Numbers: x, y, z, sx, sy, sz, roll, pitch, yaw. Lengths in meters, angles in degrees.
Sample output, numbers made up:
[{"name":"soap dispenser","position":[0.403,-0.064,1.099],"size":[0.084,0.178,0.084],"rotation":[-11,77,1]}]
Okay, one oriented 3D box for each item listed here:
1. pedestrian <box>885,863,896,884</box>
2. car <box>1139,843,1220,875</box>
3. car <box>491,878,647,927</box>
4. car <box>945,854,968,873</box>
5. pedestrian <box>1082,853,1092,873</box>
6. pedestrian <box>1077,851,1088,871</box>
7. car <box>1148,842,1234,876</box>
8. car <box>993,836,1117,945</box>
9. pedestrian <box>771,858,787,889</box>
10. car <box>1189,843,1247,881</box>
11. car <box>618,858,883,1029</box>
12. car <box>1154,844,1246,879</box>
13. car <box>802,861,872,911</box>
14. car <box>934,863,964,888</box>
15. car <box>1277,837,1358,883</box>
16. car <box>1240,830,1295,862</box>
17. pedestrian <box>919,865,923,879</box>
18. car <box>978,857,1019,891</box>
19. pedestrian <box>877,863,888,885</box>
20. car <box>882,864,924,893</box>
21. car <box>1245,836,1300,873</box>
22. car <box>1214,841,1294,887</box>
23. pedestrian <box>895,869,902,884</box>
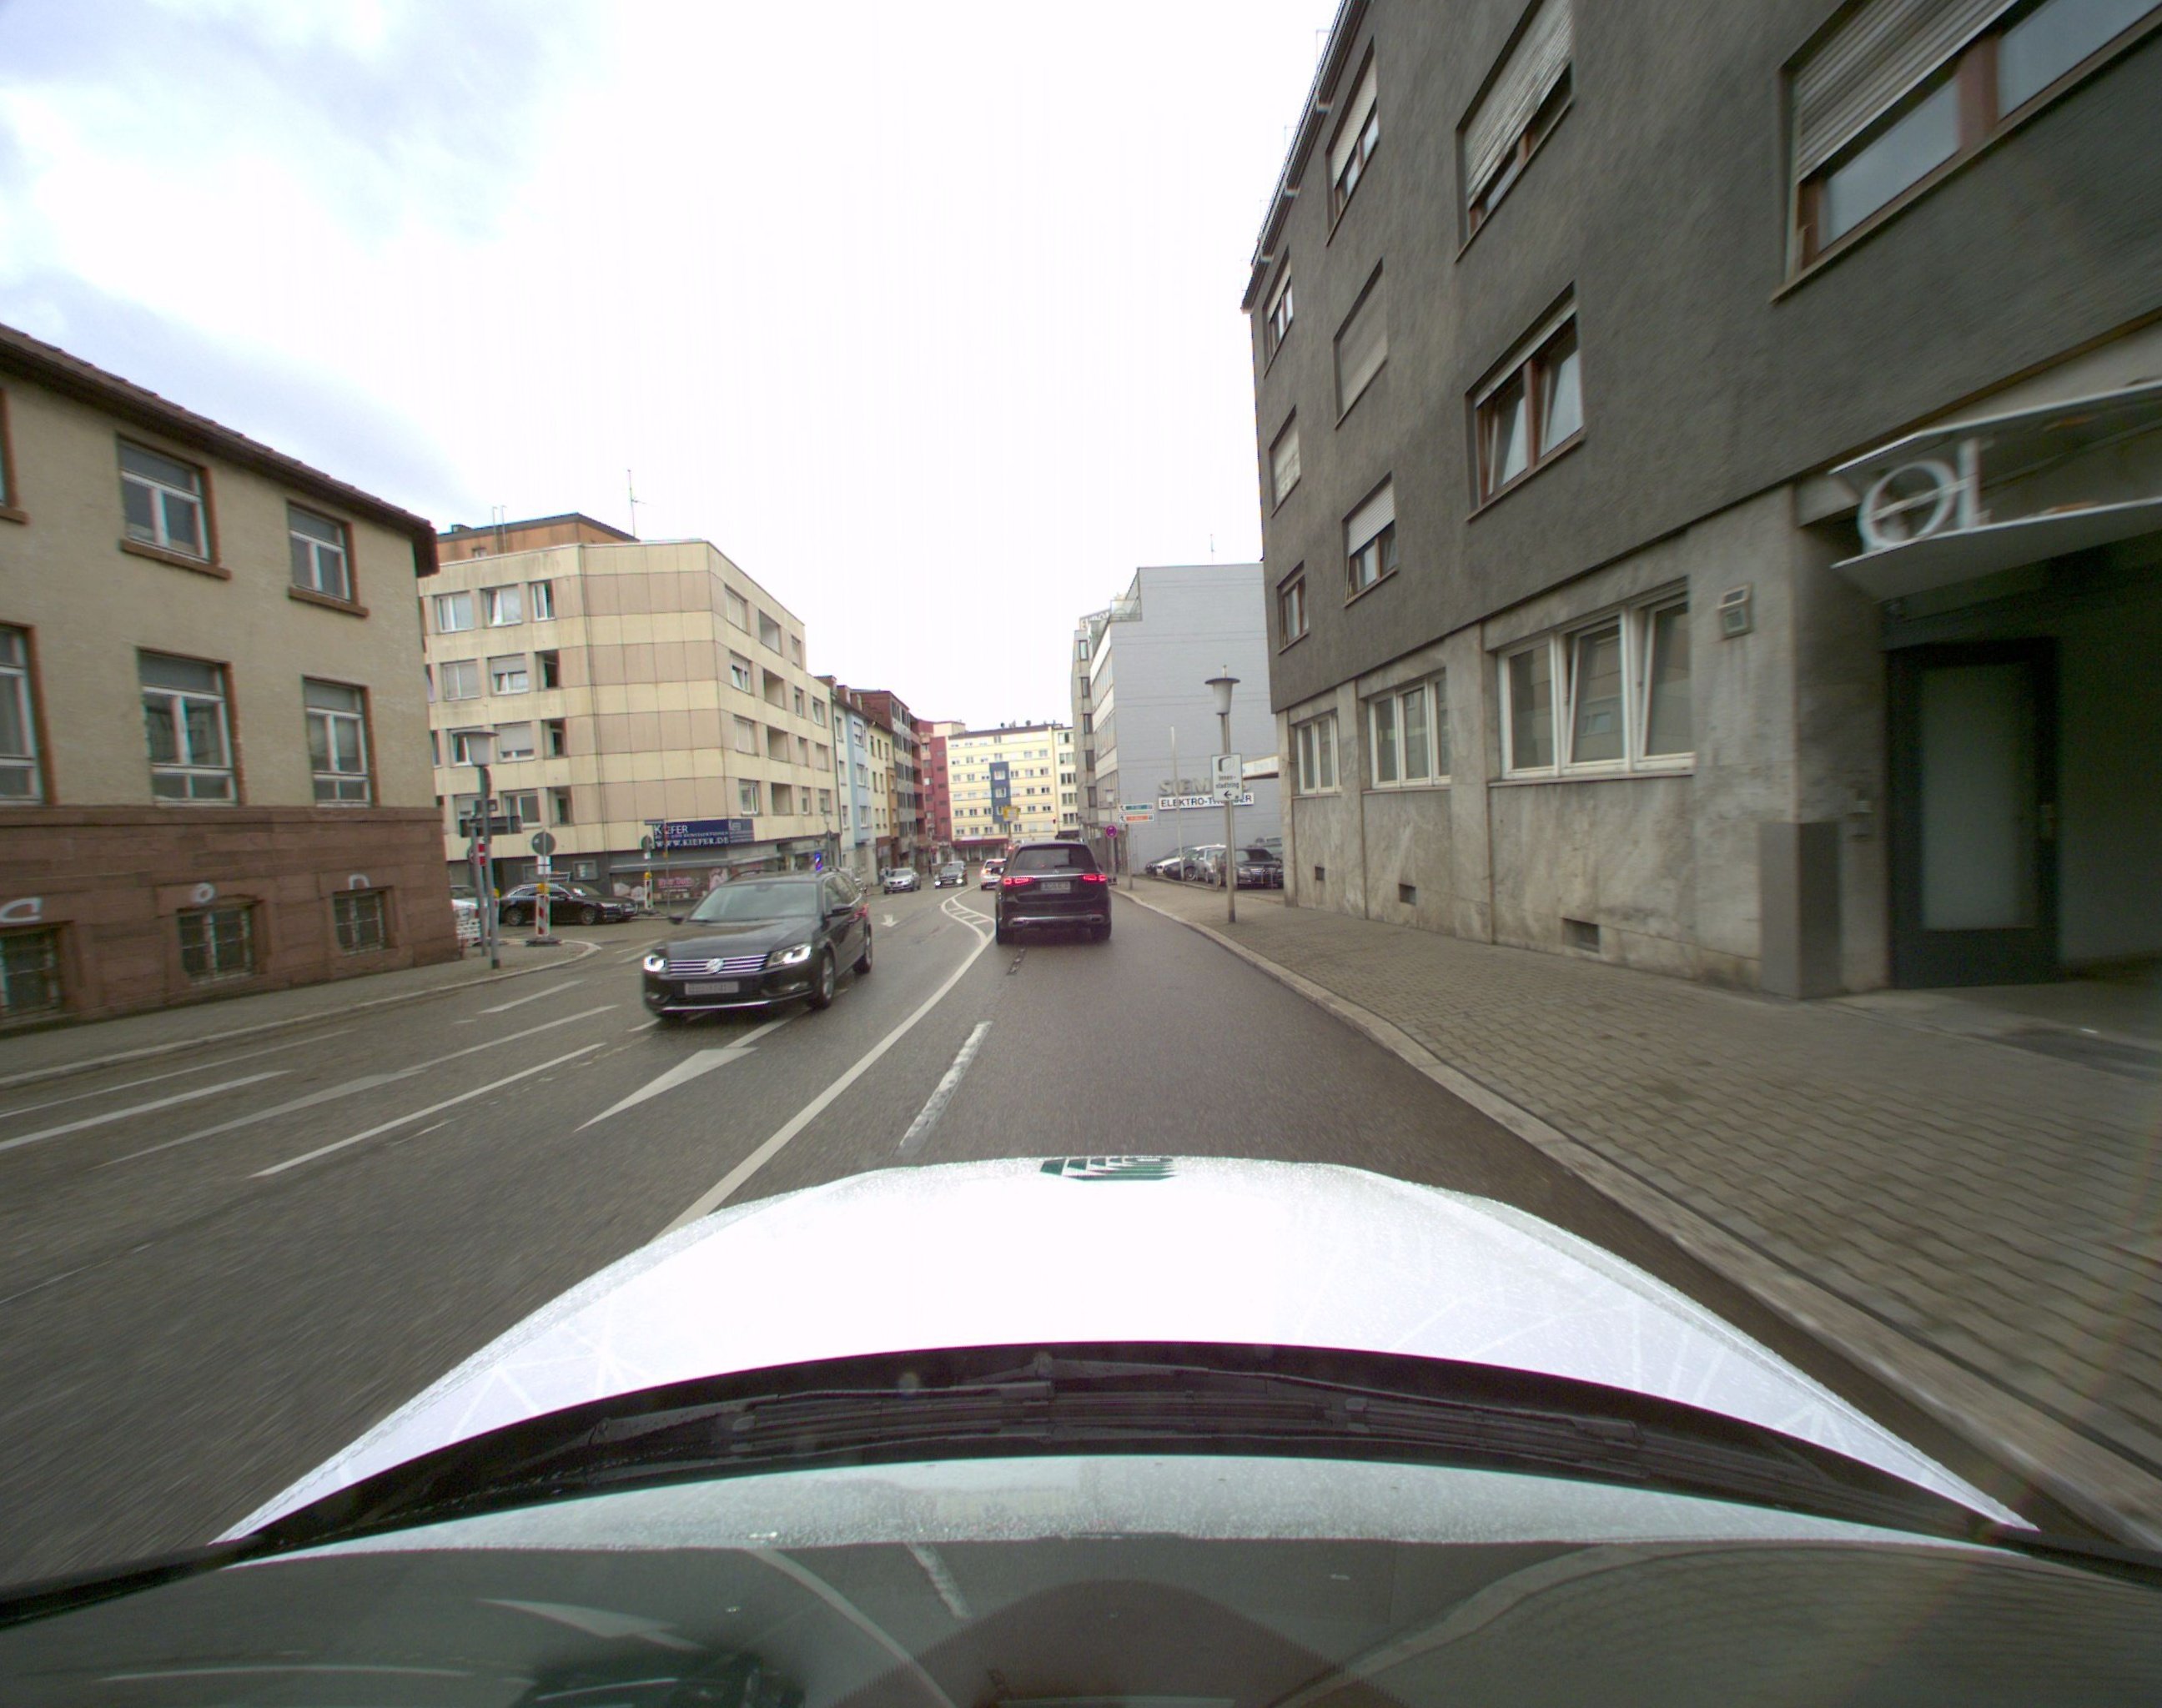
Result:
[{"name":"pedestrian","position":[-15.242,1.555,65.281],"size":[0.670,1.652,0.605],"rotation":[-3,4,-6]},{"name":"car","position":[5.327,0.276,44.122],"size":[4.003,1.597,1.786],"rotation":[-1,-2,-22]},{"name":"car","position":[-17.839,1.682,28.473],"size":[4.309,1.512,1.902],"rotation":[-2,0,7]},{"name":"car","position":[-12.882,0.994,84.778],"size":[1.866,1.753,4.392],"rotation":[-5,0,-4]},{"name":"pedestrian","position":[0.521,0.783,68.065],"size":[0.716,1.611,0.609],"rotation":[-3,2,-6]},{"name":"pedestrian","position":[0.130,0.567,67.288],"size":[0.768,1.611,0.702],"rotation":[-3,2,-6]},{"name":"car","position":[5.608,0.263,41.525],"size":[4.003,1.597,1.786],"rotation":[-1,-2,-22]},{"name":"car","position":[-0.632,0.597,15.784],"size":[2.018,1.739,4.738],"rotation":[-1,0,-5]},{"name":"pedestrian","position":[-17.666,1.130,47.656],"size":[0.598,1.729,0.571],"rotation":[-3,4,-6]},{"name":"car","position":[5.781,0.333,34.822],"size":[1.562,1.477,4.065],"rotation":[-2,0,-3]},{"name":"car","position":[-3.621,0.873,9.833],"size":[1.721,1.516,4.360],"rotation":[-2,-1,-5]},{"name":"car","position":[5.712,0.360,39.006],"size":[4.003,1.494,1.720],"rotation":[-1,-1,-22]},{"name":"car","position":[-9.104,1.161,30.725],"size":[1.713,1.586,4.133],"rotation":[-5,-1,-7]},{"name":"car","position":[-8.069,1.299,50.039],"size":[1.714,1.317,4.132],"rotation":[-3,1,-8]},{"name":"car","position":[8.518,0.205,29.720],"size":[1.790,1.477,4.487],"rotation":[-2,0,2]},{"name":"car","position":[10.318,-0.391,45.348],"size":[1.643,1.597,3.856],"rotation":[-2,-1,-8]},{"name":"pedestrian","position":[-17.597,1.969,89.495],"size":[0.317,1.474,0.339],"rotation":[-2,4,1]},{"name":"car","position":[-4.101,0.920,40.014],"size":[1.829,1.461,4.367],"rotation":[-4,0,-7]},{"name":"pedestrian","position":[-15.735,1.594,64.567],"size":[0.739,1.652,0.605],"rotation":[-3,4,-6]},{"name":"car","position":[-10.784,1.469,49.542],"size":[1.742,1.539,4.634],"rotation":[-5,-1,-5]},{"name":"car","position":[8.273,0.056,35.493],"size":[1.523,1.512,3.390],"rotation":[-2,-1,-1]},{"name":"car","position":[6.088,0.330,29.241],"size":[1.792,1.477,4.482],"rotation":[-2,0,-1]},{"name":"pedestrian","position":[-14.616,1.783,65.143],"size":[0.425,1.162,0.586],"rotation":[-3,4,-6]}]
